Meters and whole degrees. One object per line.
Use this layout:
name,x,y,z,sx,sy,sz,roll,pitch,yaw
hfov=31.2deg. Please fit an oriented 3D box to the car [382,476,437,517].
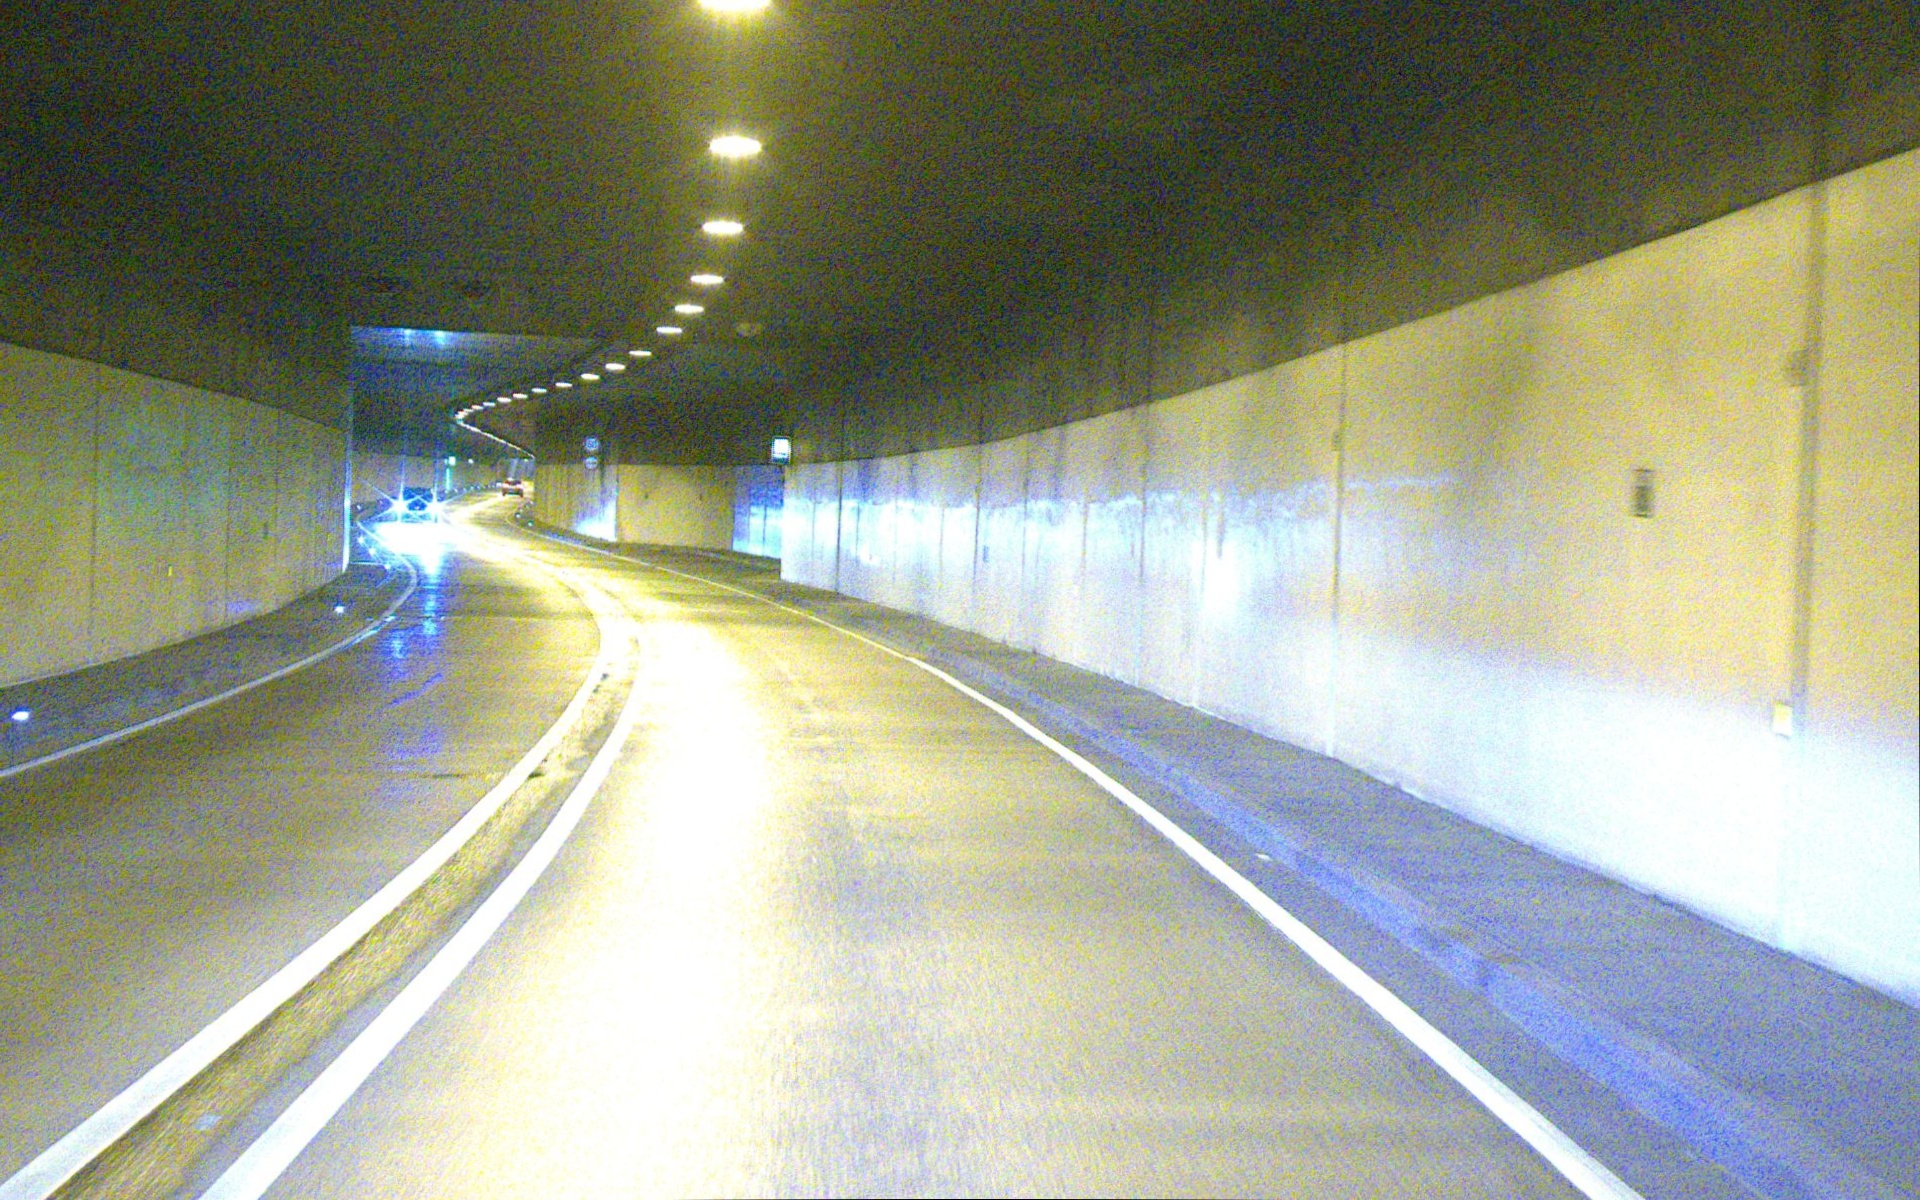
car,-22.869,-4.286,142.780,1.993,1.590,4.001,0,0,-13

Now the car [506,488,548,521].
car,-20.317,-4.475,161.197,1.595,1.450,3.622,0,0,-13
